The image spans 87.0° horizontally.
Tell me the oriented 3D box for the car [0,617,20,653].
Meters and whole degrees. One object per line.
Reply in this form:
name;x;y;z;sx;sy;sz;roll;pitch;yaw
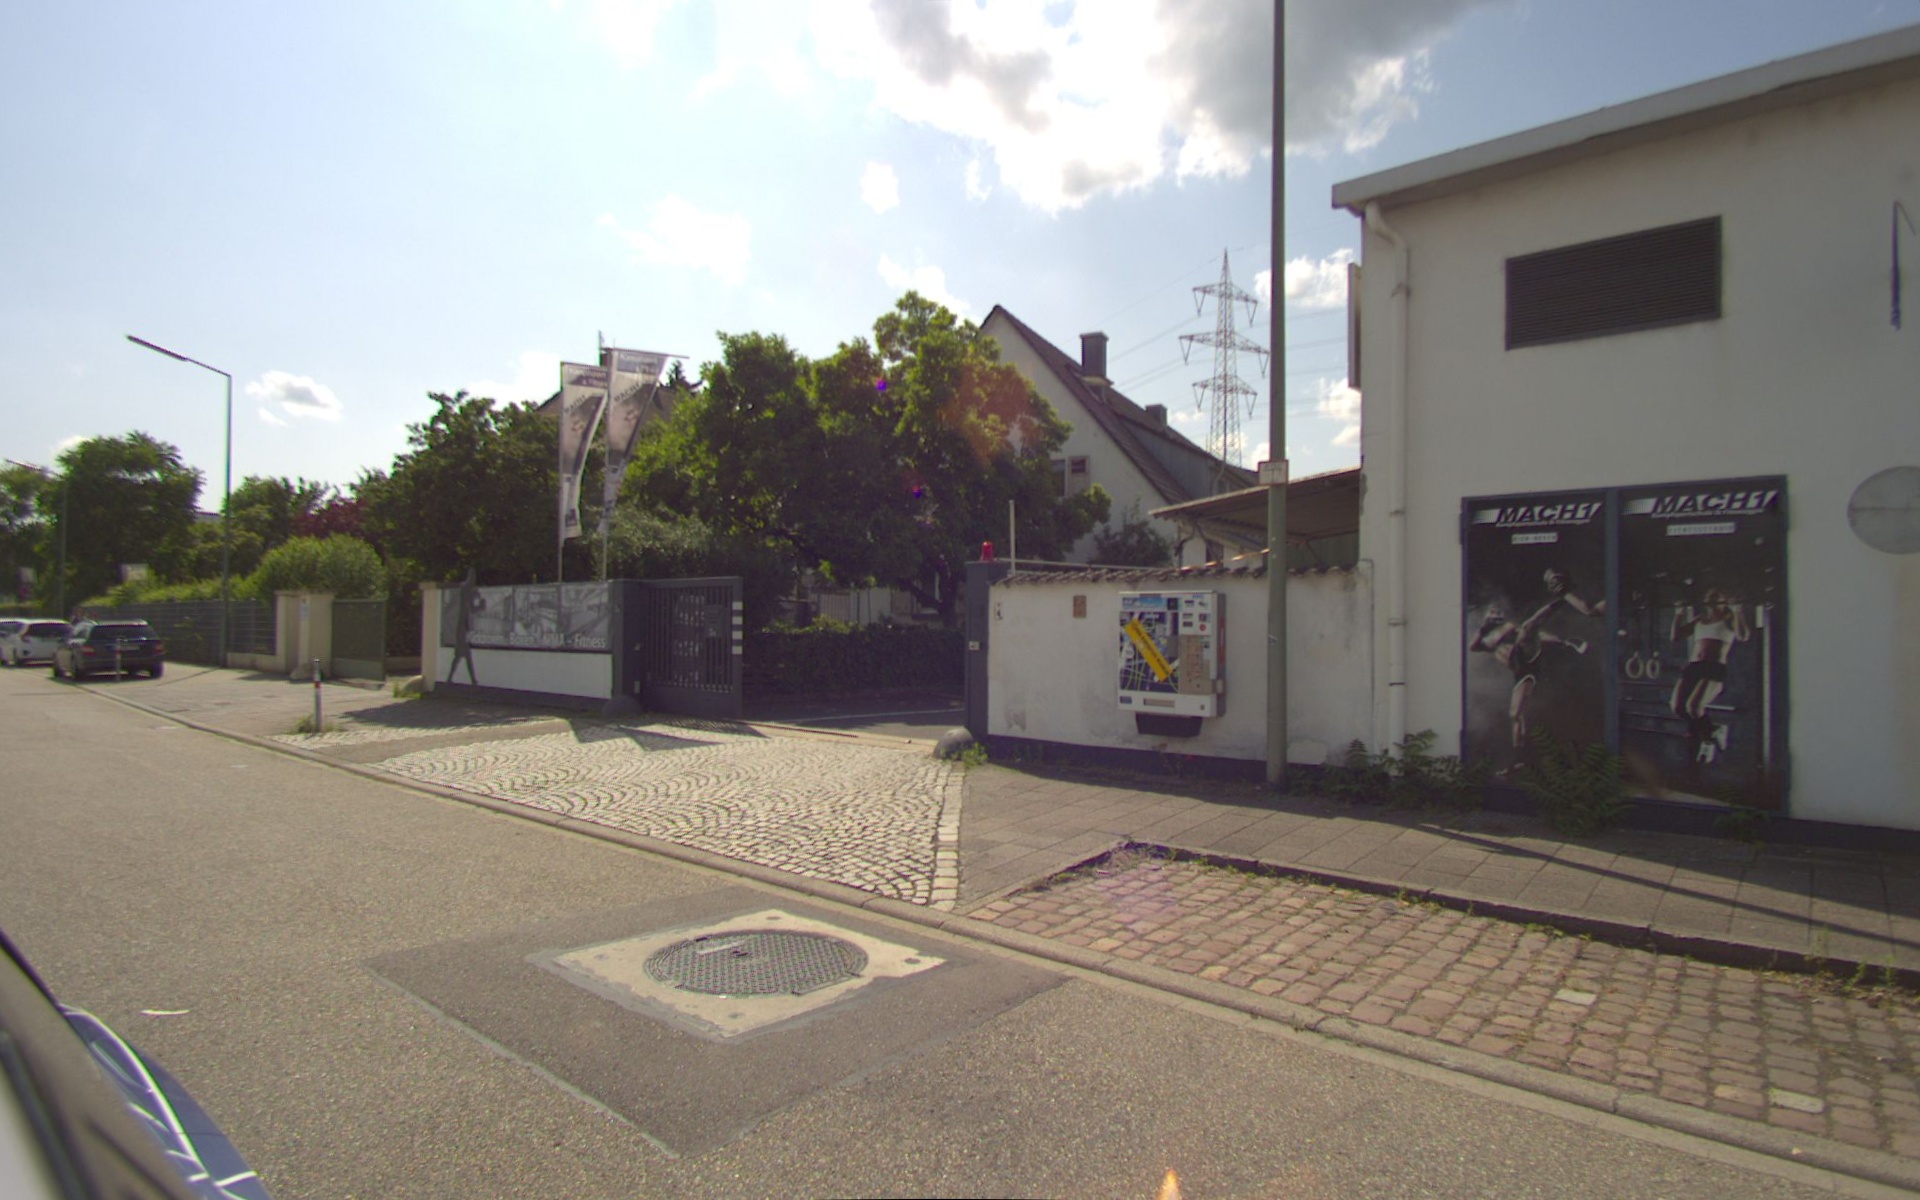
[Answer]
car;-41.332;1.476;43.053;3.743;1.478;1.648;0;-1;42

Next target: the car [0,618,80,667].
car;-30.912;1.395;33.769;4.170;1.534;1.604;-1;-2;39

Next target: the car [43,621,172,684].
car;-21.611;1.255;25.602;4.493;1.429;1.787;-1;0;40

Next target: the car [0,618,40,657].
car;-37.773;1.451;39.961;4.027;1.488;1.628;0;-2;41

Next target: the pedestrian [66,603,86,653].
pedestrian;-34.472;1.096;39.475;0.677;1.908;0.446;0;-2;41

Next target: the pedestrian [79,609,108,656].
pedestrian;-34.428;1.292;40.207;0.915;1.814;0.700;0;-2;41
